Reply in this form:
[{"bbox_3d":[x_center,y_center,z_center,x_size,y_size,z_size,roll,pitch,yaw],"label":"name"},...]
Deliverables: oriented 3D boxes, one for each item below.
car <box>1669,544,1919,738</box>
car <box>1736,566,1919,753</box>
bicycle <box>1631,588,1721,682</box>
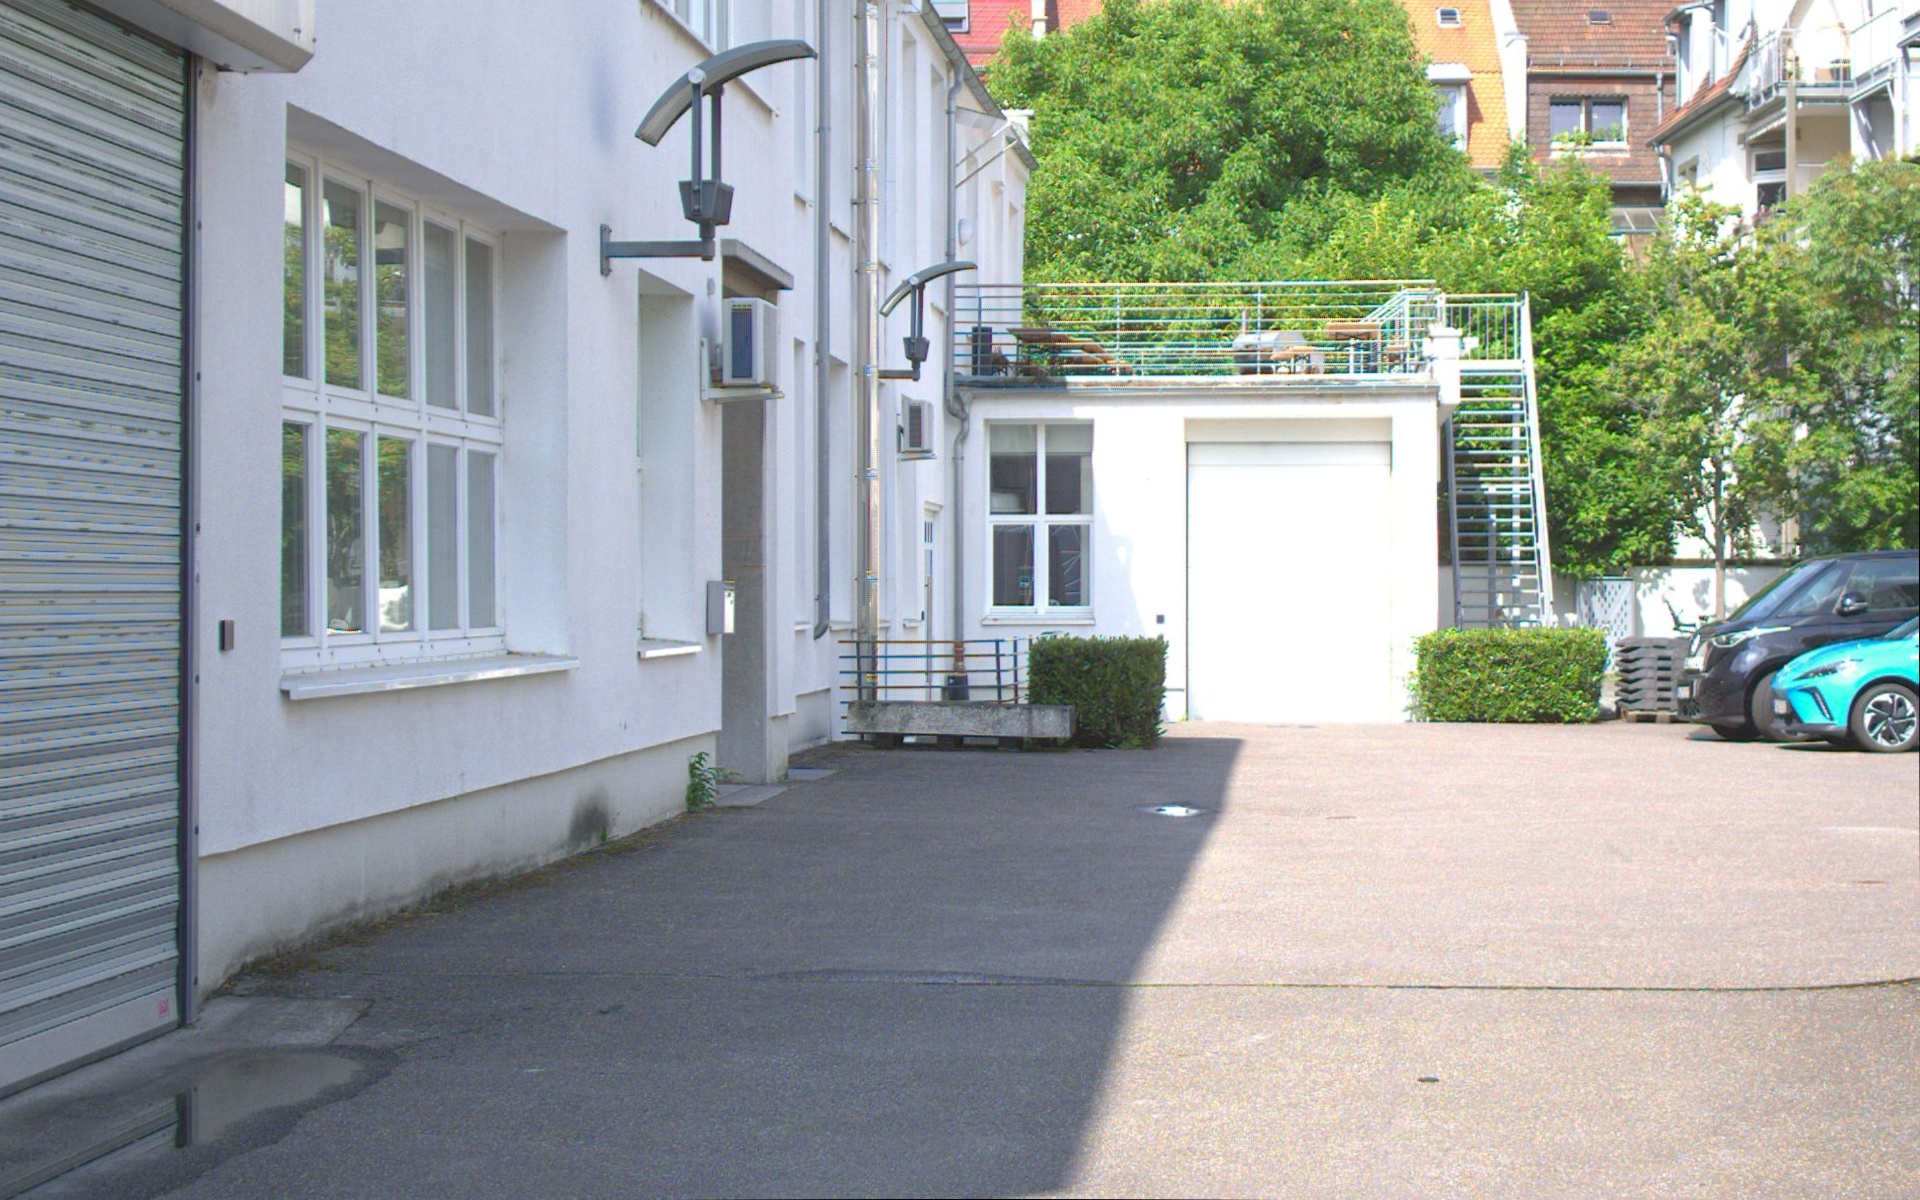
[{"bbox_3d":[9.260,0.409,34.279,3.987,1.811,1.664,2,2,1],"label":"car"},{"bbox_3d":[9.311,0.509,31.584,3.987,1.568,1.629,-1,3,1],"label":"car"},{"bbox_3d":[9.152,0.439,44.023,0.641,1.113,1.859,1,2,-3],"label":"bicycle"}]
